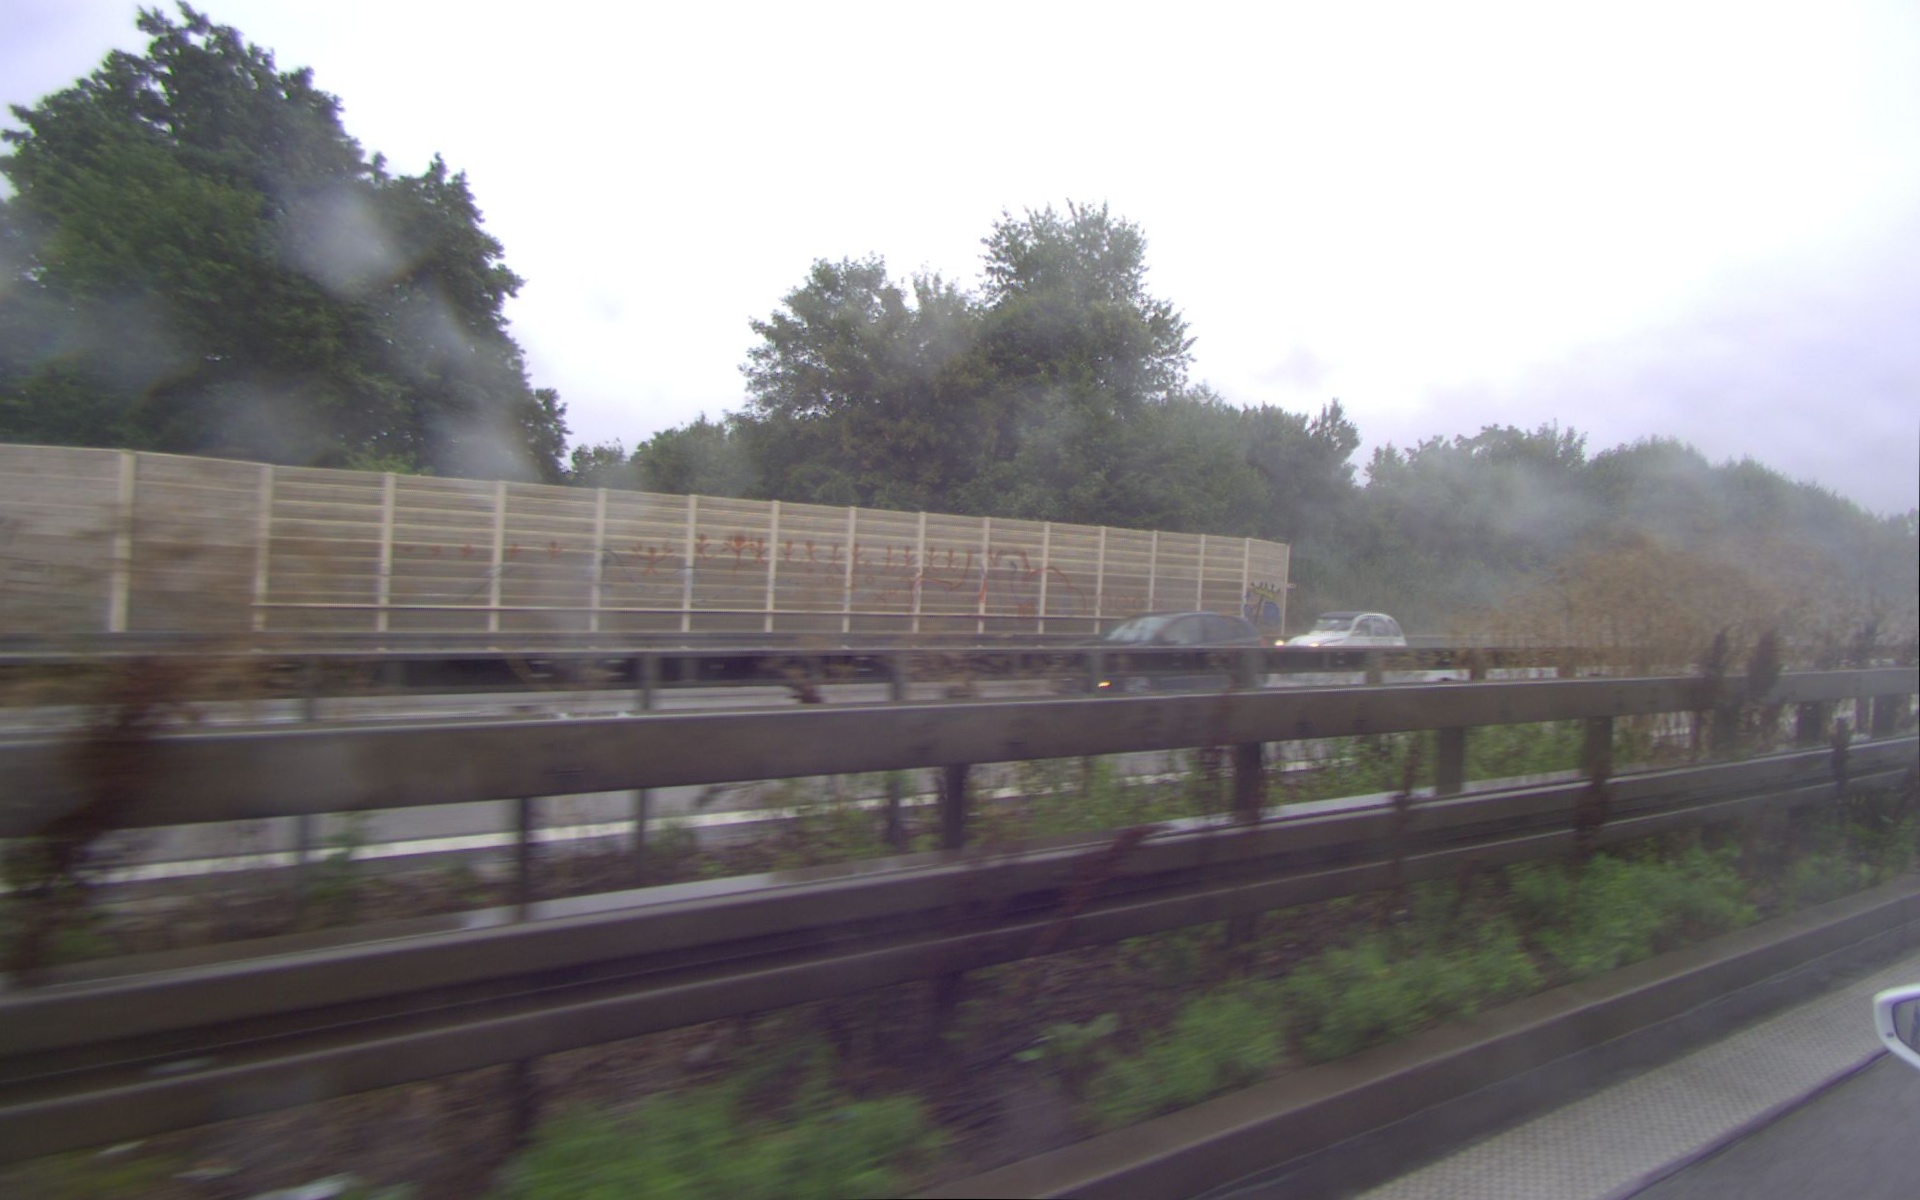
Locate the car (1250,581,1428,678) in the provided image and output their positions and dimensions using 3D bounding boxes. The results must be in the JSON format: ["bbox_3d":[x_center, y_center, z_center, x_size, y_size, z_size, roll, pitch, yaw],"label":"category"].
[{"bbox_3d":[8.643,0.658,22.868,3.735,2.040,1.847,1,0,-30],"label":"car"}]
